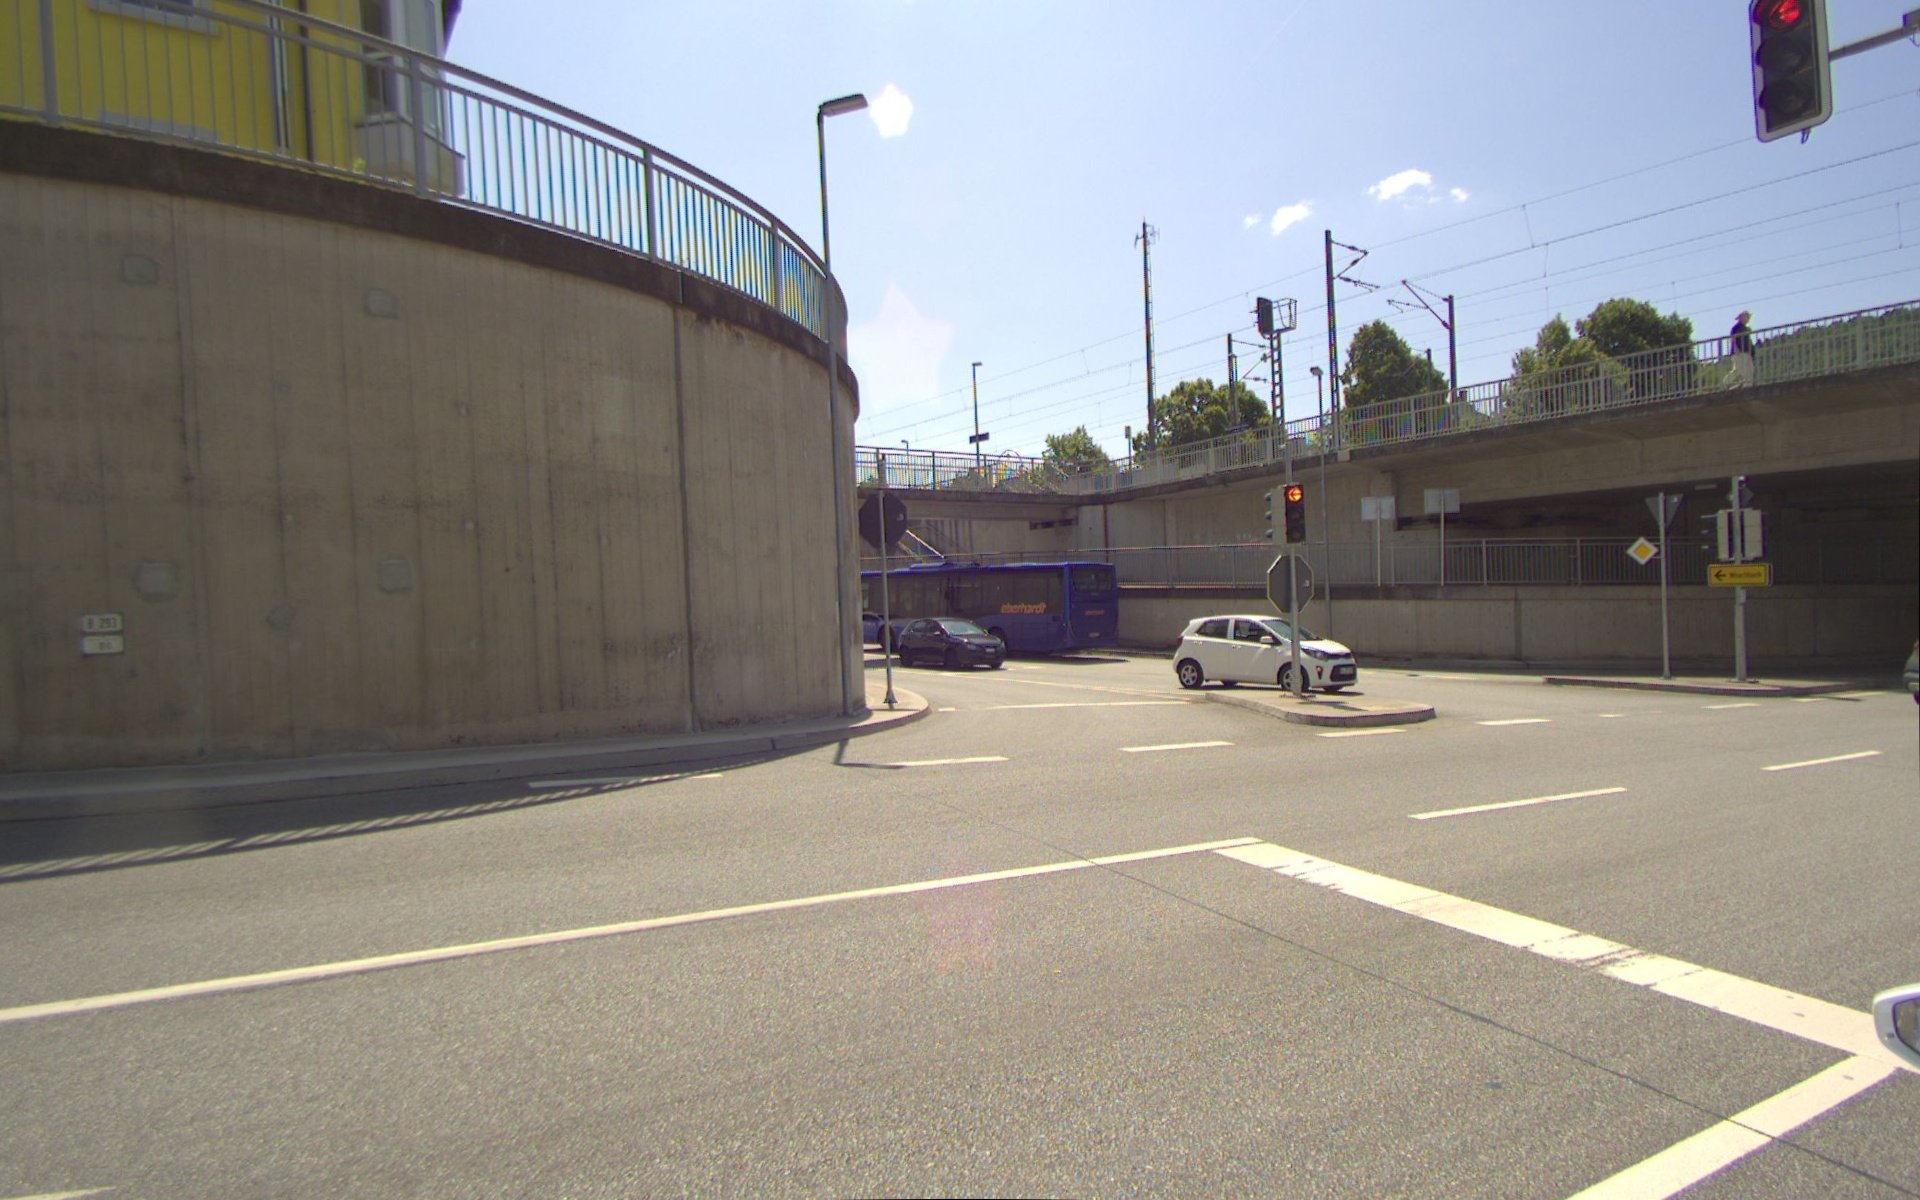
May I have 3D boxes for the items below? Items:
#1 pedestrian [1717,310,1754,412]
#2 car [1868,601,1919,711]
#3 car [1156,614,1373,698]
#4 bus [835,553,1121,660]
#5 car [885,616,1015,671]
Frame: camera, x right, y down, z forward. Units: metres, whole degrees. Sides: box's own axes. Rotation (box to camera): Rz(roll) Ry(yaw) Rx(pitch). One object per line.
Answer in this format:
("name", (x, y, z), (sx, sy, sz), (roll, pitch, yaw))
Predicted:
("pedestrian", (17.583, -5.393, 22.774), (0.531, 2.109, 0.571), (1, -1, -40))
("car", (16.209, 0.808, 14.647), (3.919, 1.610, 2.001), (-1, 1, 13))
("car", (6.049, 1.053, 20.313), (1.715, 1.439, 3.956), (-1, 1, -38))
("bus", (0.115, 0.207, 35.734), (2.570, 3.215, 12.224), (-2, 1, -42))
("car", (-0.360, 1.195, 29.006), (1.751, 1.393, 3.958), (-1, 1, -37))
